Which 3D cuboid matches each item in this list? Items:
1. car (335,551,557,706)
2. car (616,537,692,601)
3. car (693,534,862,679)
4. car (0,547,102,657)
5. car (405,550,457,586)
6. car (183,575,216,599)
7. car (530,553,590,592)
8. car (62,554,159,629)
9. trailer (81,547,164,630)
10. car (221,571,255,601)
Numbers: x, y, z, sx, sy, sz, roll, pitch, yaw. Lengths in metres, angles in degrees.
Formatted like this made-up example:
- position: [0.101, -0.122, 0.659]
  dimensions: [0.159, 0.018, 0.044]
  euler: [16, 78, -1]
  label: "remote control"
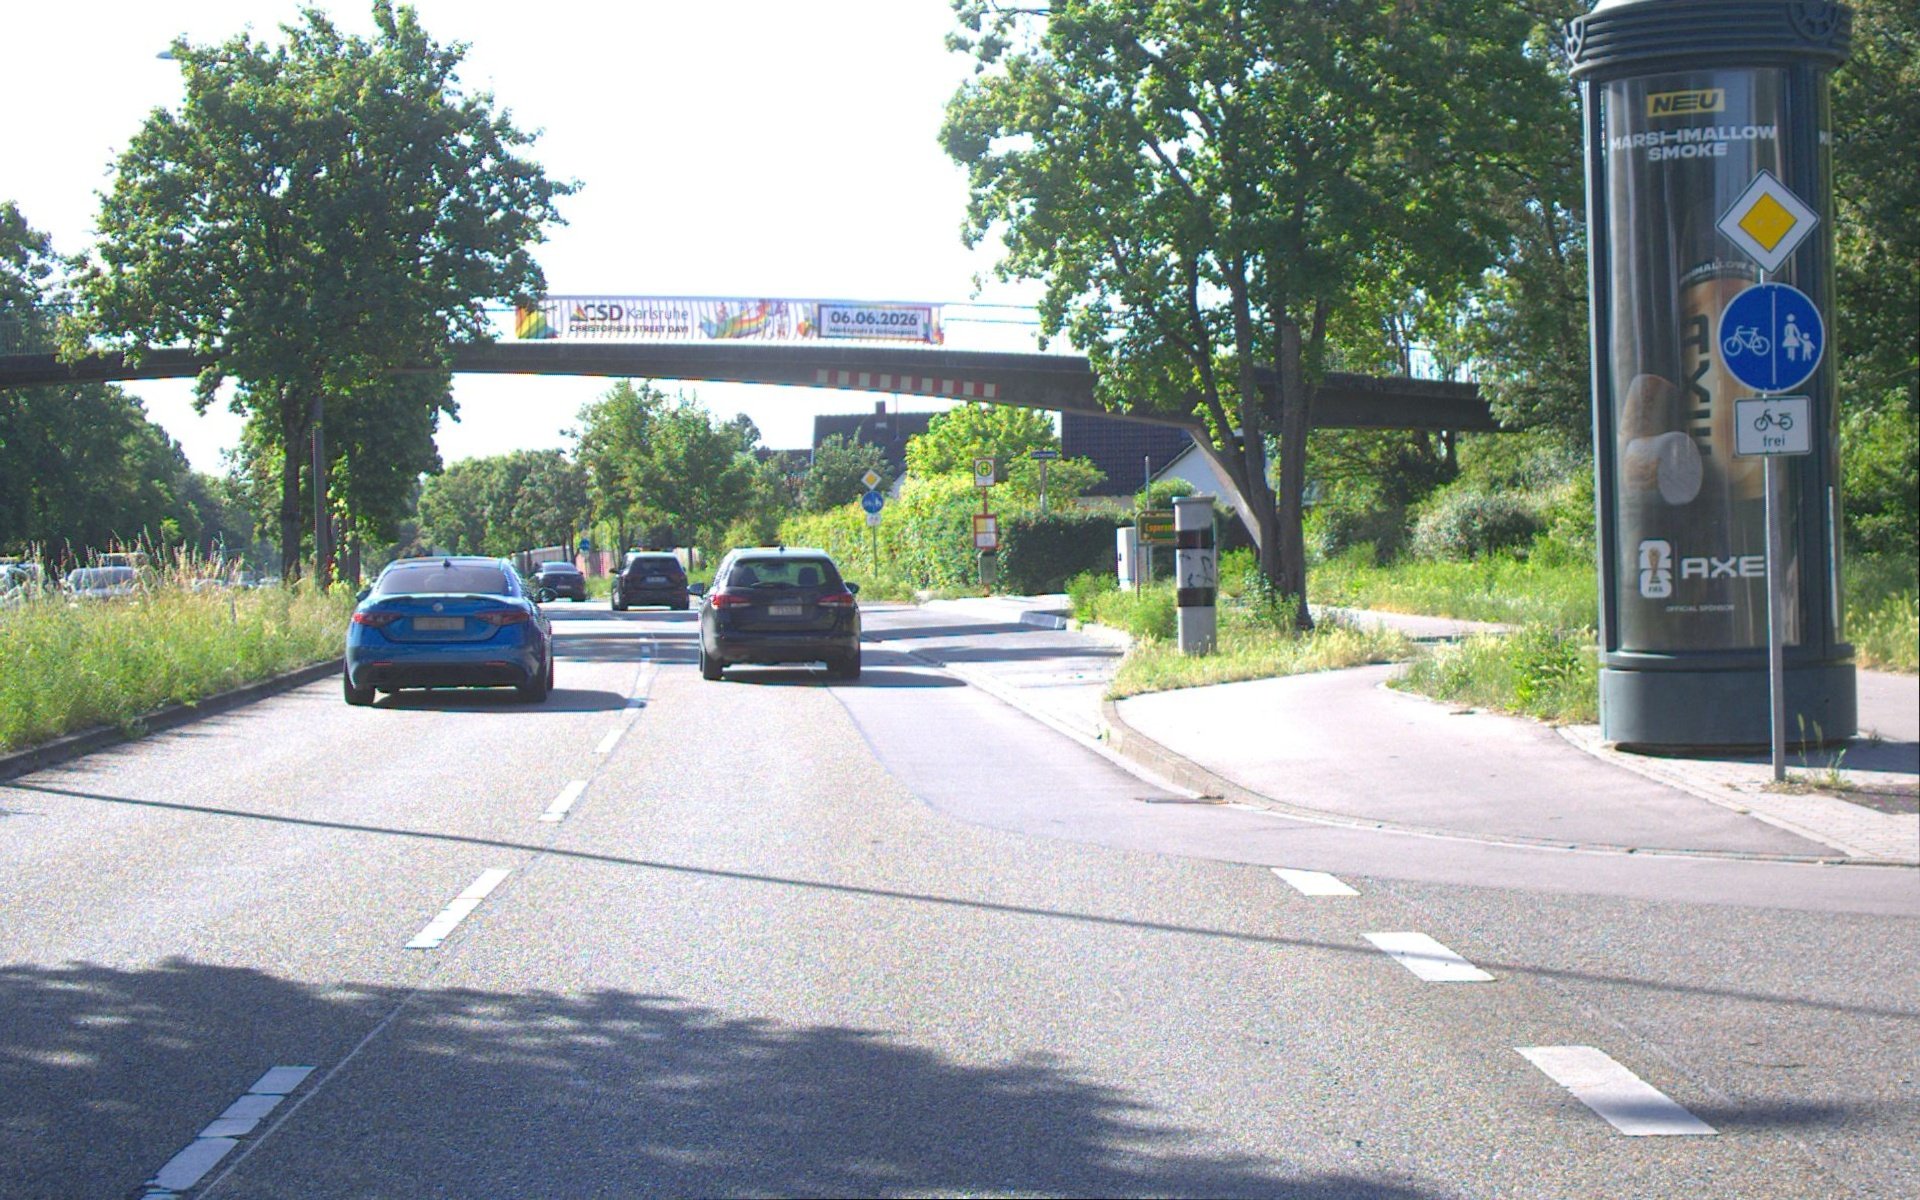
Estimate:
- position: [-4.990, 0.235, 33.824]
  dimensions: [1.994, 1.400, 4.001]
  euler: [0, 1, -6]
  label: "car"
- position: [-7.957, -0.824, 89.157]
  dimensions: [1.743, 1.592, 4.176]
  euler: [-1, 1, -8]
  label: "car"
- position: [-2.035, 0.080, 39.253]
  dimensions: [1.760, 1.554, 4.000]
  euler: [1, 0, -1]
  label: "car"
- position: [-14.946, 0.017, 53.798]
  dimensions: [1.856, 1.600, 5.576]
  euler: [-3, 1, -3]
  label: "car"
- position: [-21.156, -1.299, 137.386]
  dimensions: [1.898, 1.351, 4.001]
  euler: [-1, 1, -11]
  label: "car"
- position: [-50.216, -0.893, 227.021]
  dimensions: [1.805, 1.495, 4.597]
  euler: [0, 1, -16]
  label: "car"
- position: [-14.734, -1.029, 126.436]
  dimensions: [1.898, 1.351, 4.001]
  euler: [-1, 1, -11]
  label: "car"
- position: [-19.453, -0.178, 78.838]
  dimensions: [1.695, 1.577, 4.025]
  euler: [-2, -1, -8]
  label: "car"
- position: [-20.145, -0.307, 82.775]
  dimensions: [1.562, 1.903, 4.284]
  euler: [-1, 1, -9]
  label: "trailer"
- position: [-40.527, -0.802, 193.003]
  dimensions: [1.730, 1.626, 4.199]
  euler: [-2, 1, -11]
  label: "car"
